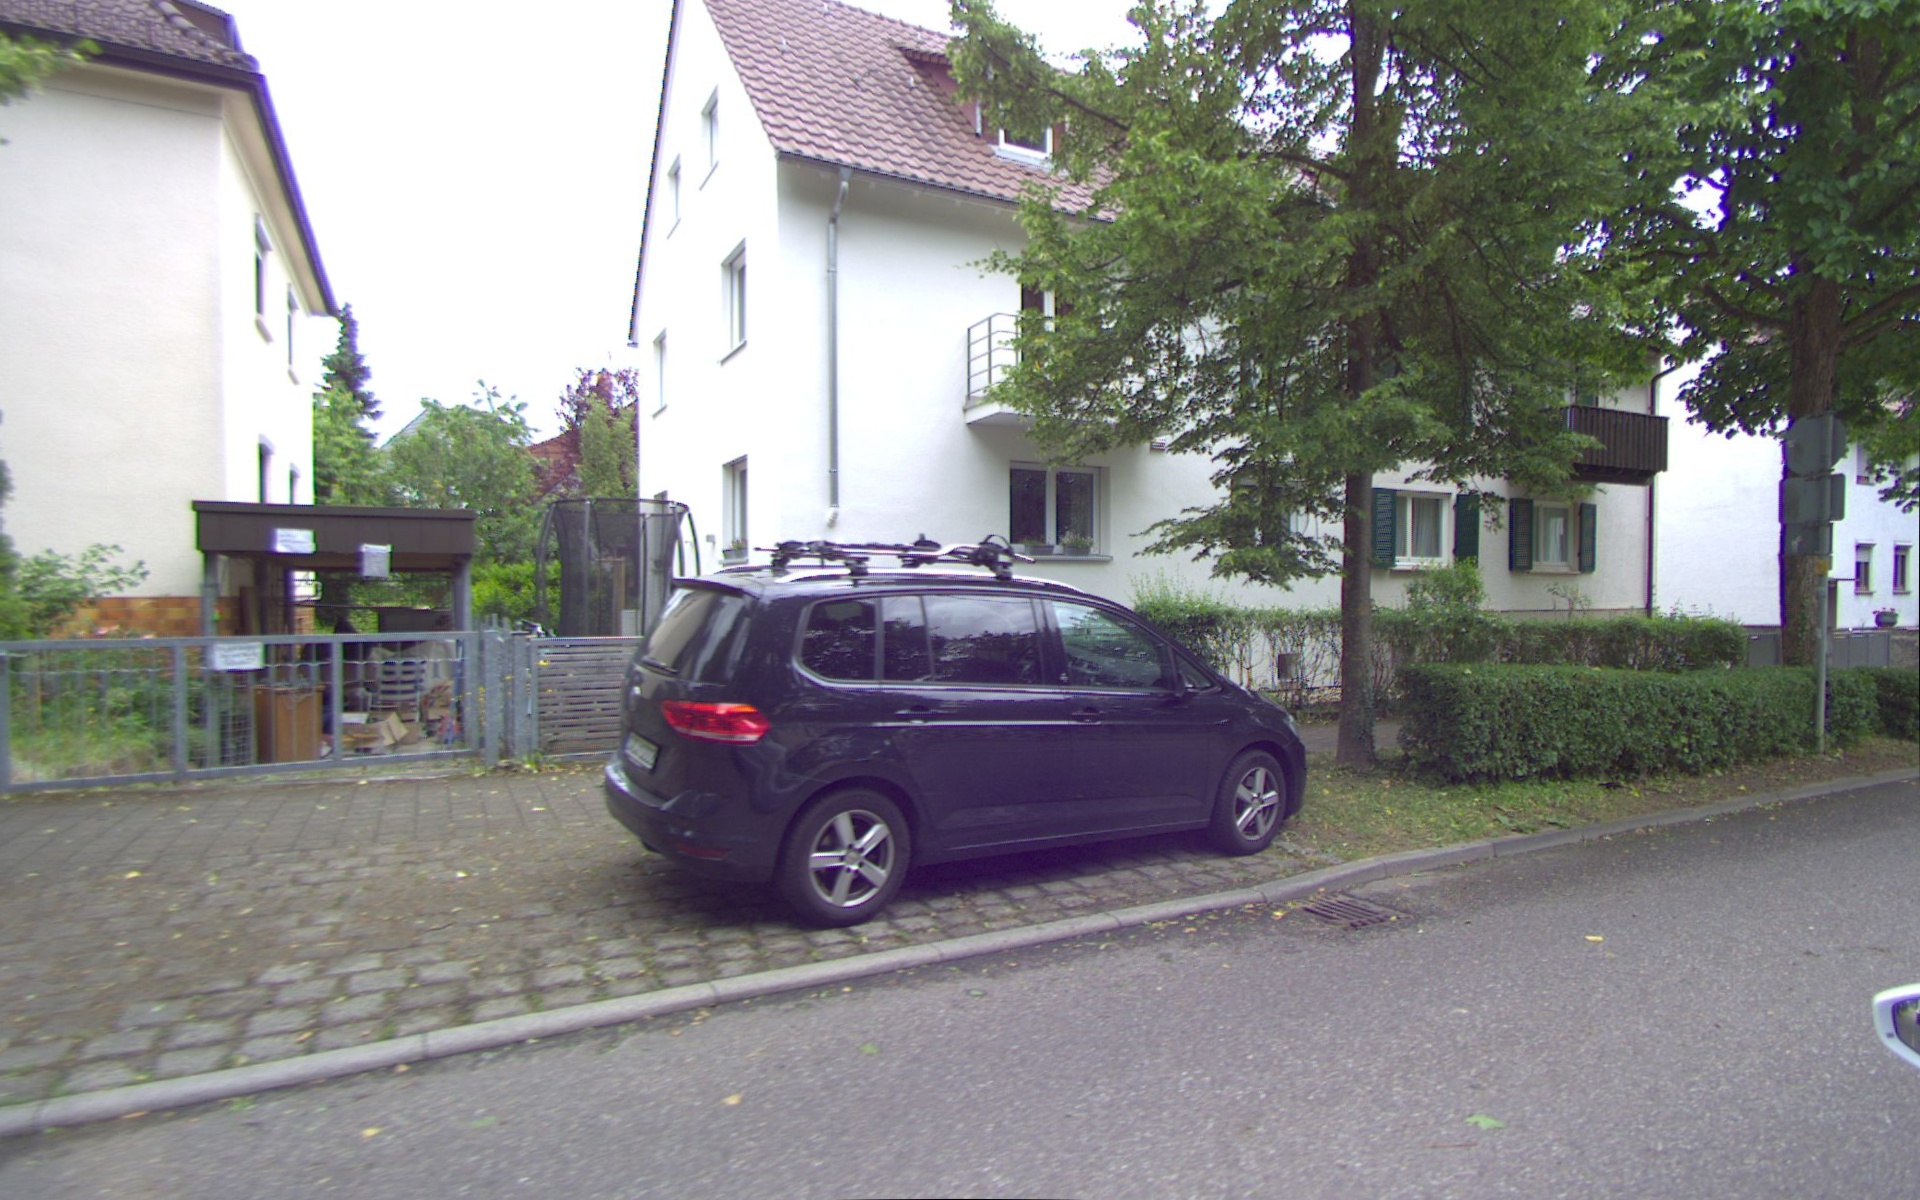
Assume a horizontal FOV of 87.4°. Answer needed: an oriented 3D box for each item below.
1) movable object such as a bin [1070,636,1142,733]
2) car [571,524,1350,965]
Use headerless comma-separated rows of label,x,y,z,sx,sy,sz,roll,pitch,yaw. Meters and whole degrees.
movable object such as a bin,1.647,0.936,11.343,0.596,1.039,0.556,1,-1,-35
car,0.171,0.599,6.025,4.406,1.777,1.814,1,0,-33
